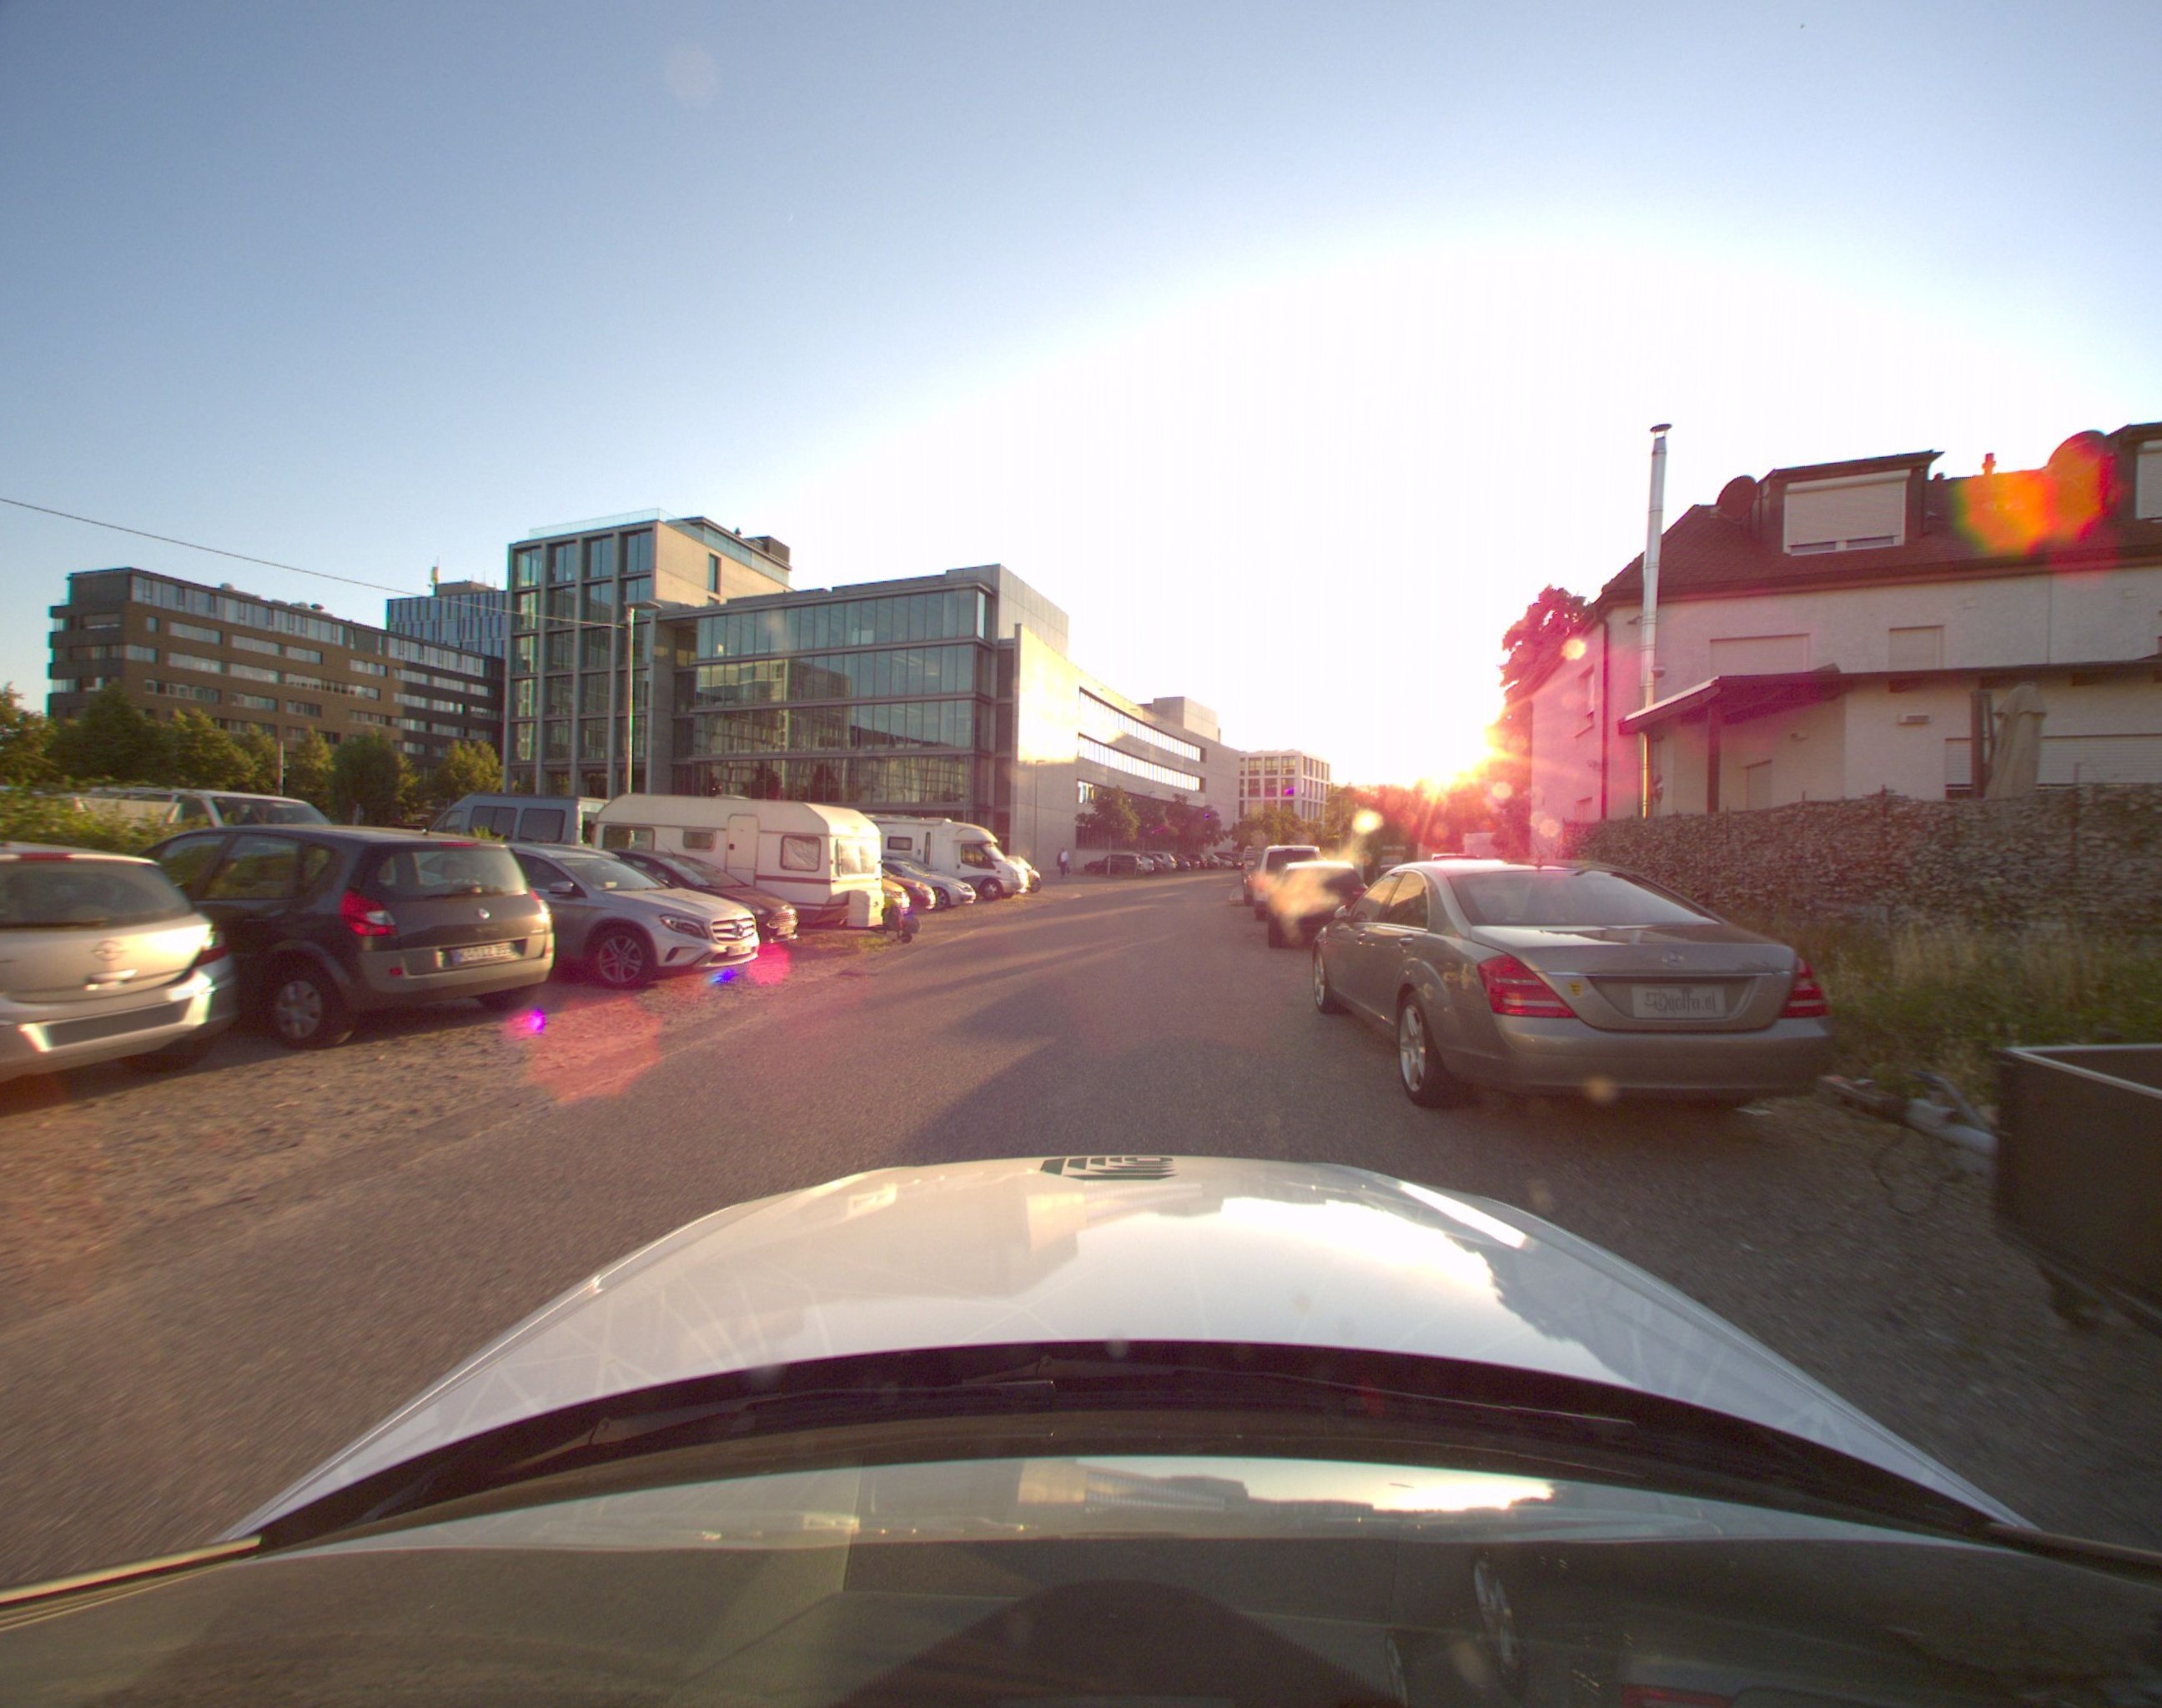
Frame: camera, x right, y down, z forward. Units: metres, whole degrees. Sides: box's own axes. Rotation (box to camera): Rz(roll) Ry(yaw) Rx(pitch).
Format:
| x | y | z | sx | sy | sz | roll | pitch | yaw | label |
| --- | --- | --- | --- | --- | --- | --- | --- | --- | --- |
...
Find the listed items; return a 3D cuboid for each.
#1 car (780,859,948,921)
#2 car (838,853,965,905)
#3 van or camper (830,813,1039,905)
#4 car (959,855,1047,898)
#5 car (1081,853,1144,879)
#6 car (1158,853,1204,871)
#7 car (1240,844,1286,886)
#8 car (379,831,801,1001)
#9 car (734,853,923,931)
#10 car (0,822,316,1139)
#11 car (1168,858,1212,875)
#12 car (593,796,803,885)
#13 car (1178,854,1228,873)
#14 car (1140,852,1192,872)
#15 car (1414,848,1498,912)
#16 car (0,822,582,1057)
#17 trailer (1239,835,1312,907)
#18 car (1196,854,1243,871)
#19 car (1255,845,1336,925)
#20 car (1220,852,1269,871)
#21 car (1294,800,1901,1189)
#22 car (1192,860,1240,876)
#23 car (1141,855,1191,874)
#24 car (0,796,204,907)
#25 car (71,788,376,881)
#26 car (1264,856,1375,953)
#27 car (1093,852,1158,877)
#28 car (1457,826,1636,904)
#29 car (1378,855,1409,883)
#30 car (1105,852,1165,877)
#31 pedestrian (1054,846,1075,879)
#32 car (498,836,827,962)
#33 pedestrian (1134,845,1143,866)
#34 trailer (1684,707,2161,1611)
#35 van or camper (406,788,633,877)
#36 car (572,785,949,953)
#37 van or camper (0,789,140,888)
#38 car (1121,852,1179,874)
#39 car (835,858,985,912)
| x | y | z | sx | sy | sz | roll | pitch | yaw | label |
| --- | --- | --- | --- | --- | --- | --- | --- | --- | --- |
| -5.476 | 0.891 | 20.835 | 3.708 | 1.367 | 1.708 | 2 | 0 | 5 | car |
| -5.699 | 0.785 | 26.121 | 3.589 | 1.476 | 1.694 | 2 | 0 | 3 | car |
| -5.074 | 0.140 | 28.671 | 6.701 | 2.897 | 2.415 | 2 | 0 | 9 | van or camper |
| -2.967 | 0.859 | 32.064 | 1.673 | 1.519 | 4.382 | 2 | 0 | 19 | car |
| 2.027 | 0.752 | 52.011 | 3.708 | 1.482 | 1.776 | 2 | 1 | 14 | car |
| 8.829 | 0.674 | 71.830 | 3.671 | 1.458 | 1.720 | 1 | 0 | 21 | car |
| 9.714 | 0.561 | 43.251 | 2.049 | 2.095 | 4.893 | 0 | 0 | 17 | car |
| -5.770 | 0.675 | 9.780 | 4.099 | 1.591 | 1.753 | 3 | -2 | 11 | car |
| -5.583 | 0.807 | 18.264 | 3.611 | 1.519 | 1.708 | 2 | 0 | 5 | car |
| -7.319 | 0.605 | 4.834 | 3.908 | 1.591 | 1.749 | 1 | -1 | 3 | car |
| 9.879 | 1.128 | 73.720 | 3.670 | 1.458 | 1.688 | 1 | 0 | 22 | car |
| -12.727 | -0.466 | 27.178 | 6.198 | 2.673 | 2.231 | 2 | 0 | 13 | car |
| 11.425 | 0.886 | 76.084 | 4.271 | 1.696 | 1.906 | 1 | 0 | 22 | car |
| 6.962 | 0.657 | 66.527 | 3.838 | 1.511 | 1.769 | 2 | 1 | 20 | car |
| 9.868 | 0.691 | 21.687 | 1.622 | 1.519 | 3.921 | 0 | -2 | 19 | car |
| -6.685 | 0.588 | 6.978 | 3.900 | 1.591 | 1.754 | 1 | 0 | 11 | car |
| 6.458 | 0.512 | 27.570 | 2.052 | 2.211 | 5.236 | 0 | 0 | 9 | trailer |
| 14.240 | 0.896 | 83.988 | 4.356 | 1.499 | 1.774 | 3 | 0 | 30 | car |
| 5.408 | 0.728 | 21.017 | 1.759 | 1.831 | 4.421 | 0 | 0 | 11 | car |
| 18.664 | 0.870 | 92.979 | 5.029 | 1.946 | 1.900 | 3 | 0 | 27 | car |
| 2.949 | 0.642 | 6.137 | 1.797 | 1.724 | 4.935 | -1 | 0 | 5 | car |
| 13.511 | 1.352 | 81.634 | 4.393 | 1.464 | 1.773 | 1 | 0 | 26 | car |
| 6.621 | 0.787 | 63.404 | 3.606 | 1.361 | 1.693 | 2 | 1 | 15 | car |
| -15.553 | -0.081 | 12.106 | 3.582 | 1.476 | 1.670 | 2 | 0 | 10 | car |
| -15.717 | -0.359 | 15.000 | 4.334 | 1.476 | 1.990 | 2 | 0 | 15 | car |
| 4.259 | 0.797 | 15.037 | 1.693 | 1.519 | 4.102 | 0 | 0 | 12 | car |
| 3.022 | 0.682 | 54.744 | 4.057 | 1.528 | 1.853 | 2 | 0 | 13 | car |
| 17.084 | 0.329 | 30.283 | 5.515 | 2.692 | 2.064 | 1 | 2 | 22 | car |
| 16.969 | 0.769 | 44.270 | 1.515 | 1.444 | 3.658 | 0 | 0 | 20 | car |
| 3.795 | 0.700 | 57.001 | 3.970 | 1.512 | 1.591 | 2 | 2 | 13 | car |
| -0.980 | 0.486 | 47.317 | 0.906 | 1.850 | 0.846 | 0 | 0 | -39 | pedestrian |
| -6.277 | 0.640 | 12.489 | 4.105 | 1.591 | 1.751 | 3 | -1 | 6 | car |
| 5.150 | 0.135 | 72.829 | 0.640 | 1.784 | 0.729 | 2 | 0 | 20 | pedestrian |
| 2.877 | 0.587 | 0.473 | 1.722 | 1.777 | 4.944 | -1 | 0 | 5 | trailer |
| -13.300 | -0.503 | 19.399 | 4.308 | 1.891 | 1.939 | 2 | 0 | 12 | van or camper |
| -5.677 | 0.216 | 14.852 | 5.853 | 2.534 | 2.418 | 3 | 0 | 9 | car |
| -30.557 | -0.467 | 21.868 | 2.001 | 2.690 | 6.662 | 2 | 0 | 13 | van or camper |
| 5.229 | 0.655 | 61.707 | 3.954 | 1.511 | 1.768 | 2 | 1 | 19 | car |
| -4.831 | 0.853 | 23.293 | 3.788 | 1.328 | 1.696 | 2 | 0 | 6 | car |
